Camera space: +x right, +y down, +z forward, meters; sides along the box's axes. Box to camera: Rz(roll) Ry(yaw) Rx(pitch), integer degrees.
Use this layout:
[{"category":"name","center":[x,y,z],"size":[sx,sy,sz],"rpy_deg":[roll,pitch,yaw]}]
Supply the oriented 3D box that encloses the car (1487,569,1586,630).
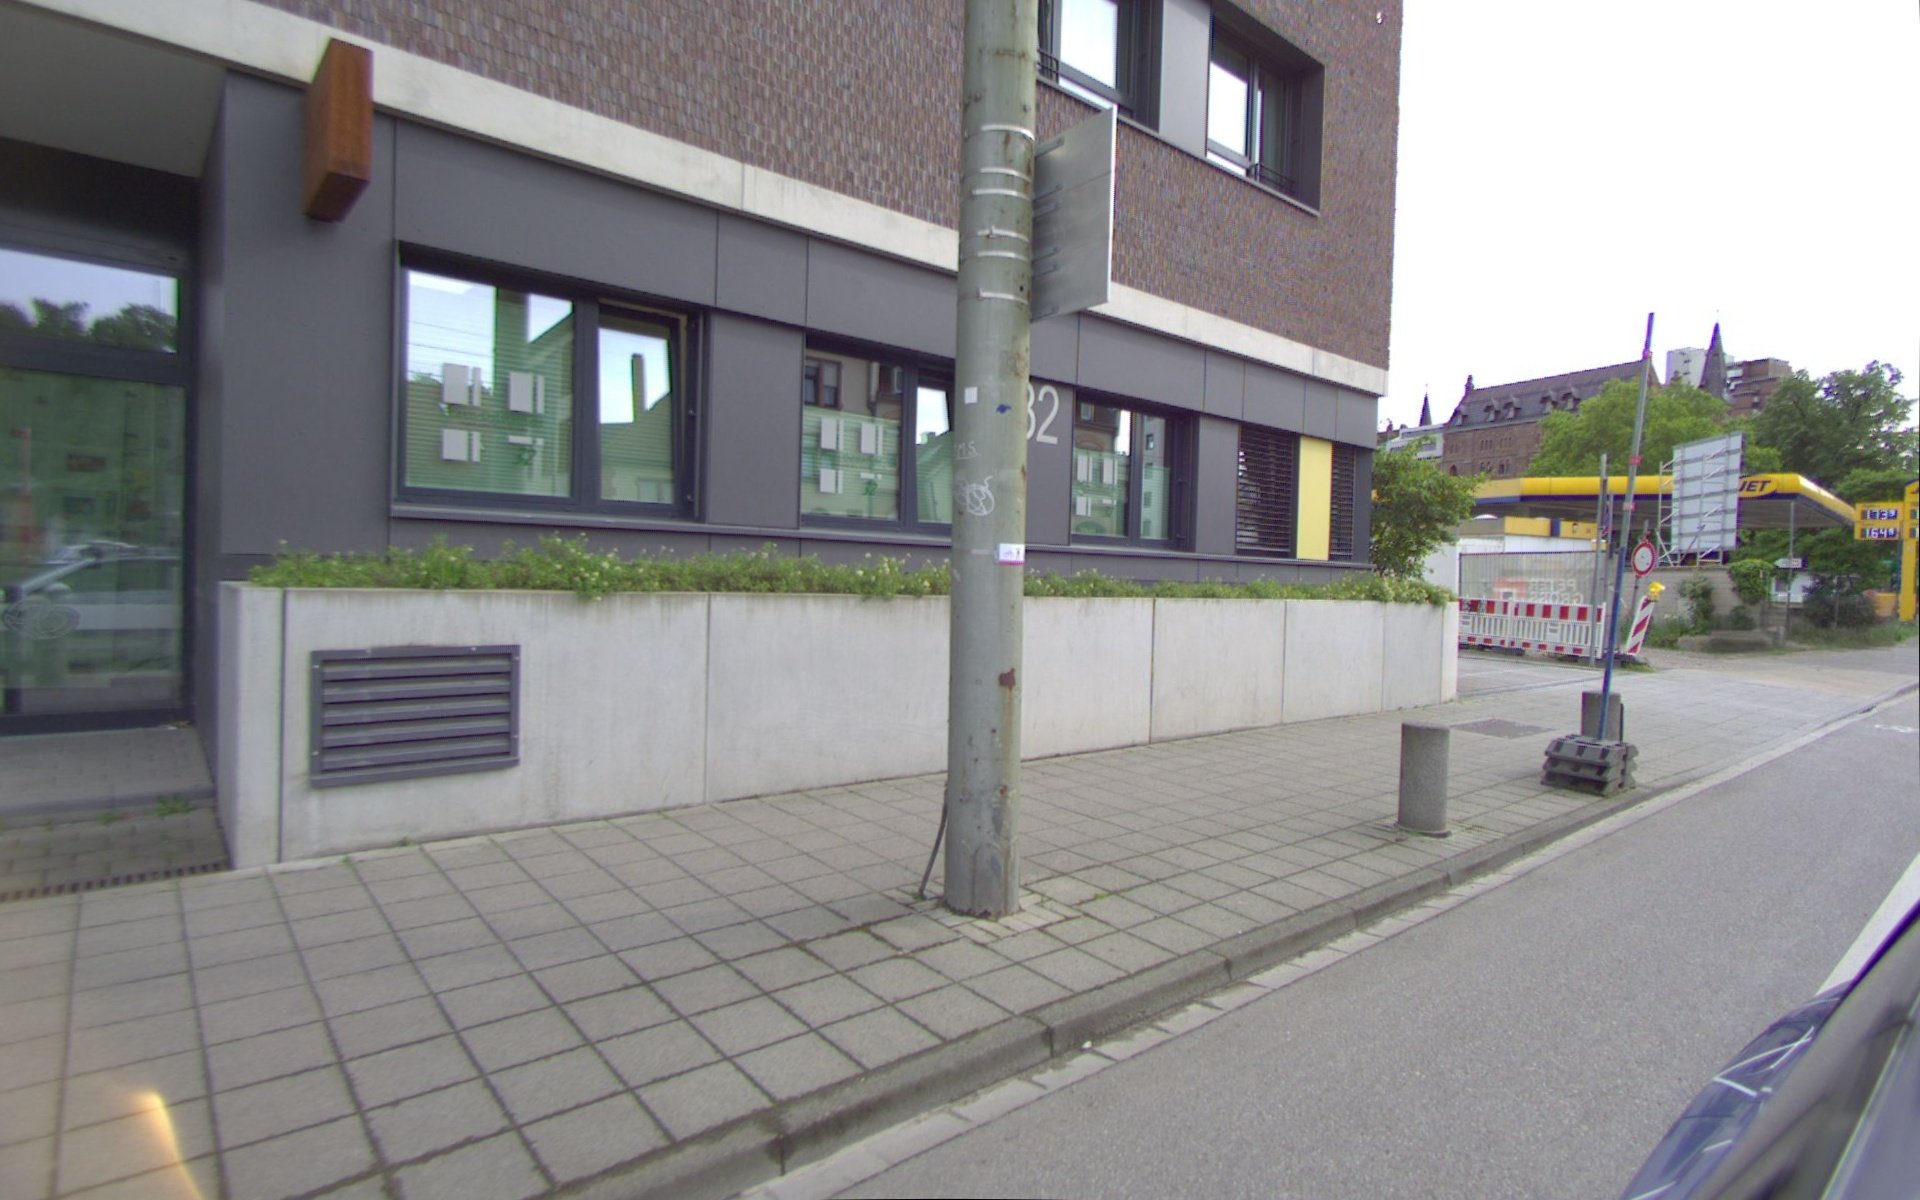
[{"category":"car","center":[17.562,-0.088,31.019],"size":[1.976,1.657,3.923],"rpy_deg":[2,3,21]}]

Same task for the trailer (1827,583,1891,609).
[{"category":"trailer","center":[63.113,-0.291,71.050],"size":[3.283,1.549,1.747],"rpy_deg":[4,5,43]}]

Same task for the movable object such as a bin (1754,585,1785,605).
[{"category":"movable object such as a bin","center":[53.093,-0.338,66.389],"size":[1.136,1.336,1.123],"rpy_deg":[0,1,-13]}]
